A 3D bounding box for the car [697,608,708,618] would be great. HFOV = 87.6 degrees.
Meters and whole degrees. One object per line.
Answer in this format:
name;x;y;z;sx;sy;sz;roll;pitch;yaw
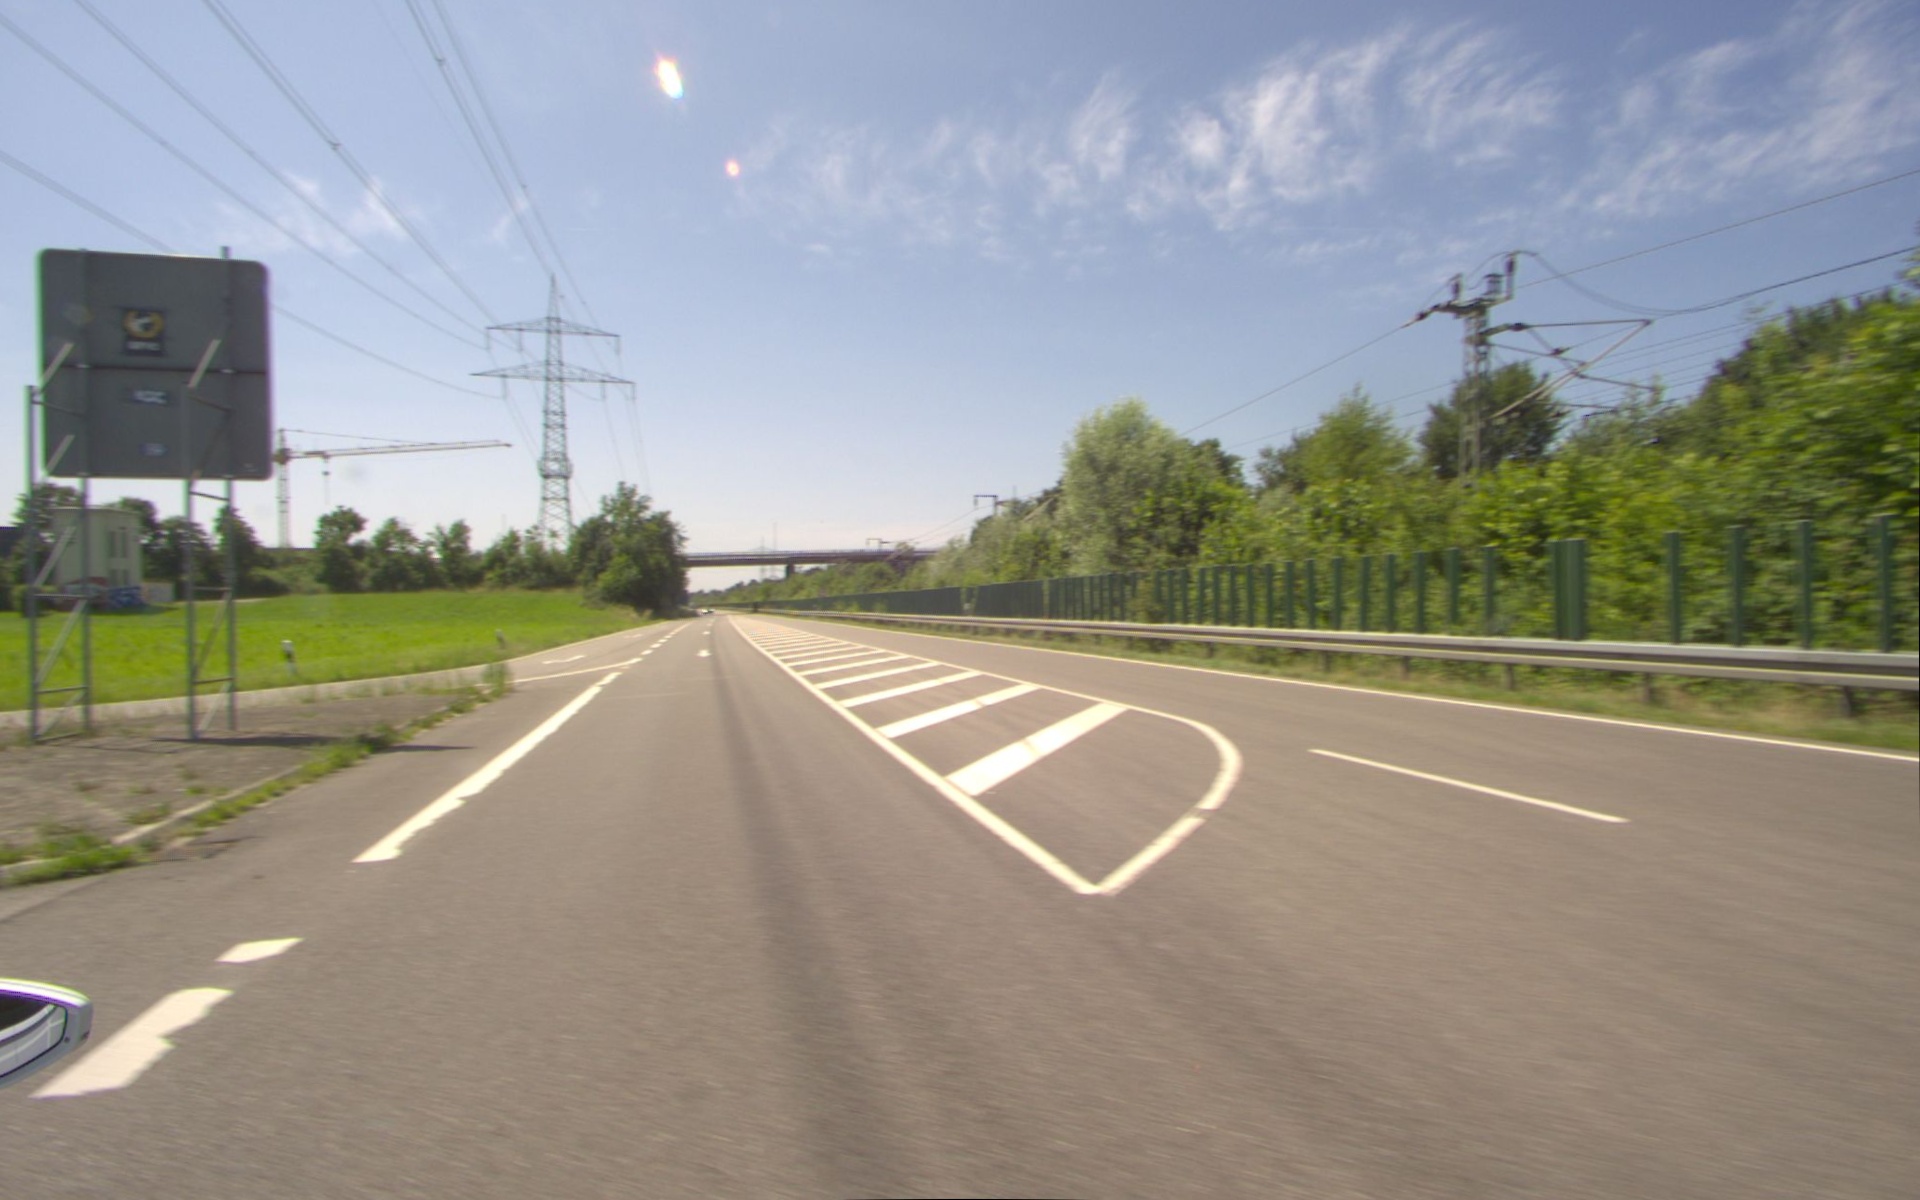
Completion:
car;-47.879;2.362;186.206;1.693;1.747;3.995;0;0;-12
